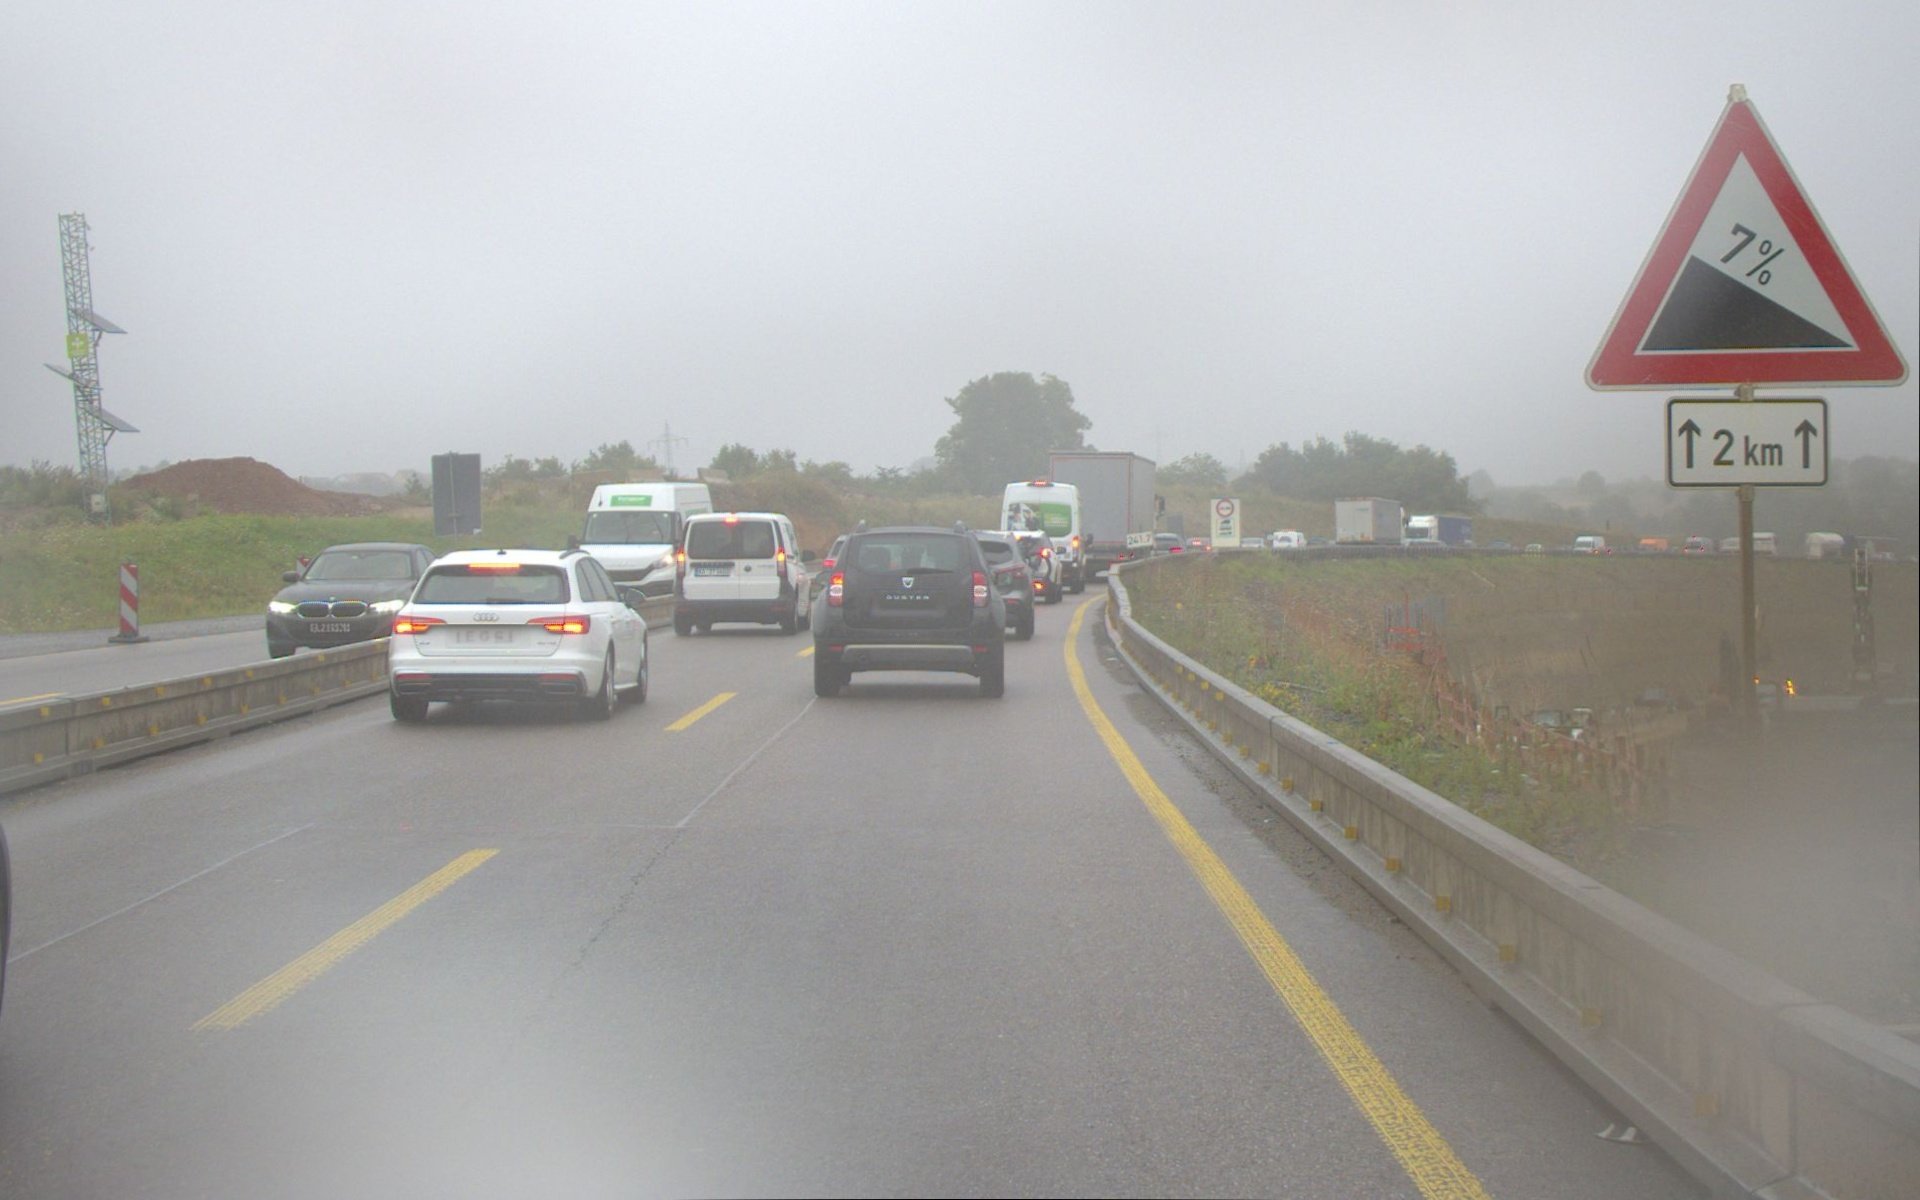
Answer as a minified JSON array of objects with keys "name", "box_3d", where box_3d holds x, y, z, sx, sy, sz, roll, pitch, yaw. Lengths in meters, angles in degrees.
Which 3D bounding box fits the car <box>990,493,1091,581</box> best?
[{"name":"car","box_3d":[1.741,-1.318,73.179,1.827,1.809,3.999,1,0,6]}]

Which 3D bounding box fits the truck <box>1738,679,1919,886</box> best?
[{"name":"truck","box_3d":[17.437,3.452,67.543,2.700,3.491,8.947,1,0,3]}]

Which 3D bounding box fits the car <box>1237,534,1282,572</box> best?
[{"name":"car","box_3d":[17.980,-2.814,206.186,2.036,2.248,4.155,1,0,14]}]

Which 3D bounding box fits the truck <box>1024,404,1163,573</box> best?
[{"name":"truck","box_3d":[4.349,-3.428,109.207,3.544,5.060,10.439,1,0,7]}]

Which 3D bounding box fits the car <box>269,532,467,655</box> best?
[{"name":"car","box_3d":[-7.553,-0.125,44.252,1.747,1.490,4.750,0,1,0]}]

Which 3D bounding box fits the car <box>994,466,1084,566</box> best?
[{"name":"car","box_3d":[2.031,-2.105,87.215,1.827,2.429,4.157,1,0,8]}]

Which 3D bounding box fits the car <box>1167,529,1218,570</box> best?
[{"name":"car","box_3d":[12.438,-2.695,183.792,2.036,2.106,4.155,1,0,13]}]

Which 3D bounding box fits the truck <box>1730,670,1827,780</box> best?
[{"name":"truck","box_3d":[28.939,4.364,121.894,2.731,3.479,9.061,1,0,10]}]

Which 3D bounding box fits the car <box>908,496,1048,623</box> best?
[{"name":"car","box_3d":[0.304,-0.595,51.339,1.826,1.809,3.999,1,0,4]}]

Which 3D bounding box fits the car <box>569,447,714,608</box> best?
[{"name":"car","box_3d":[-6.301,-1.450,68.762,1.993,3.035,7.171,1,1,2]}]

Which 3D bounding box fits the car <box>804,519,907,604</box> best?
[{"name":"car","box_3d":[-2.287,-0.842,76.033,1.826,1.809,3.999,1,0,5]}]

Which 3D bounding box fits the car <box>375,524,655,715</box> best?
[{"name":"car","box_3d":[-3.709,0.138,29.278,1.826,1.494,4.000,1,0,0]}]

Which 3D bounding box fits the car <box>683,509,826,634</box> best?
[{"name":"car","box_3d":[-3.084,-0.439,52.343,1.826,1.809,4.000,1,0,1]}]

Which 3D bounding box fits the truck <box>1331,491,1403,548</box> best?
[{"name":"truck","box_3d":[27.308,-5.421,230.247,3.475,3.702,8.411,0,1,16]}]

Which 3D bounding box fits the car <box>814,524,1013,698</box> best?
[{"name":"car","box_3d":[-0.401,0.087,33.880,1.826,1.585,4.000,1,0,1]}]

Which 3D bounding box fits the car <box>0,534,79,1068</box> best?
[{"name":"car","box_3d":[-3.463,0.656,7.702,1.734,1.457,5.630,0,3,-2]}]
